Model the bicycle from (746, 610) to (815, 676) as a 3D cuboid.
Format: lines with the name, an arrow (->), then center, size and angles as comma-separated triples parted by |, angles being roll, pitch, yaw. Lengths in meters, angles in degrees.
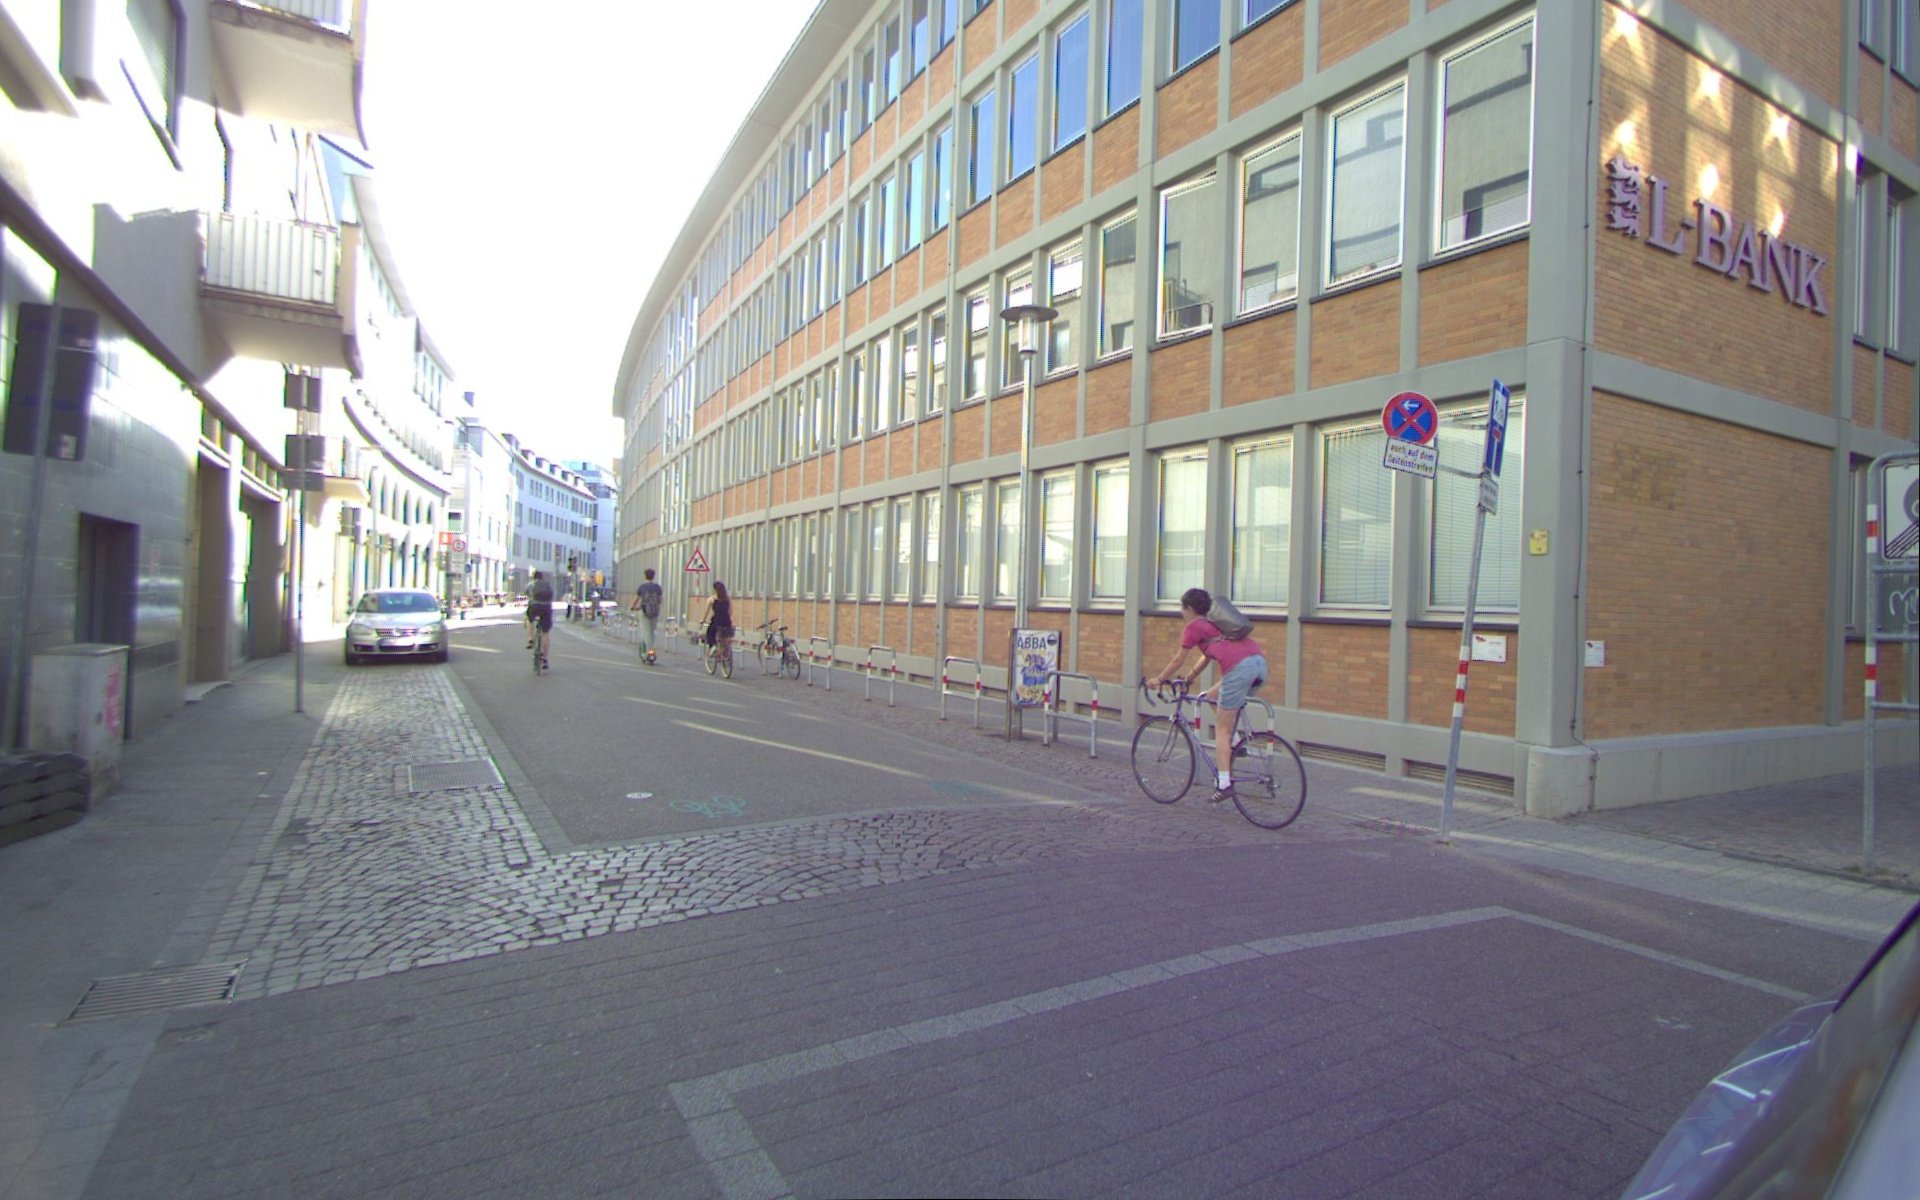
bicycle -> -3.388, 0.786, 18.990 | 0.625, 1.130, 1.933 | 2, 0, -30

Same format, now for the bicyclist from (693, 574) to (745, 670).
bicyclist -> -4.402, 0.392, 18.442 | 0.607, 1.688, 0.825 | 5, -2, -30

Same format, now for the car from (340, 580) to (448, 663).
car -> -11.336, 0.345, 20.357 | 1.735, 1.488, 3.818 | 0, 1, -29

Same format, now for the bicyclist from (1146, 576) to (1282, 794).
bicyclist -> 1.875, 0.592, 7.534 | 0.420, 1.517, 0.876 | 4, -1, -30

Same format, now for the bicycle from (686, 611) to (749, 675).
bicycle -> -4.431, 0.762, 18.421 | 0.579, 1.065, 1.803 | 4, -1, -30

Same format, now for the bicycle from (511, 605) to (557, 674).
bicycle -> -7.151, 0.634, 17.030 | 0.562, 1.064, 1.840 | 0, 0, -18

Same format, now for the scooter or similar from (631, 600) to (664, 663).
scooter or similar -> -6.364, 0.622, 20.575 | 0.330, 1.201, 1.281 | 4, -1, -28

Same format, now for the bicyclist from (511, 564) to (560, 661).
bicyclist -> -7.178, 0.199, 17.161 | 0.636, 1.578, 1.112 | 1, 0, -18

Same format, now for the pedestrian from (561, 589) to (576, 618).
pedestrian -> -20.536, 0.183, 53.036 | 0.646, 1.459, 0.596 | 2, 0, -27

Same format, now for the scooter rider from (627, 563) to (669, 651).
scooter rider -> -6.346, 0.134, 20.557 | 0.636, 1.748, 0.703 | 2, 1, -27

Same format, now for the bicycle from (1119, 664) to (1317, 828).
bicycle -> 1.867, 1.023, 7.543 | 0.427, 0.969, 1.593 | 2, 0, -29
